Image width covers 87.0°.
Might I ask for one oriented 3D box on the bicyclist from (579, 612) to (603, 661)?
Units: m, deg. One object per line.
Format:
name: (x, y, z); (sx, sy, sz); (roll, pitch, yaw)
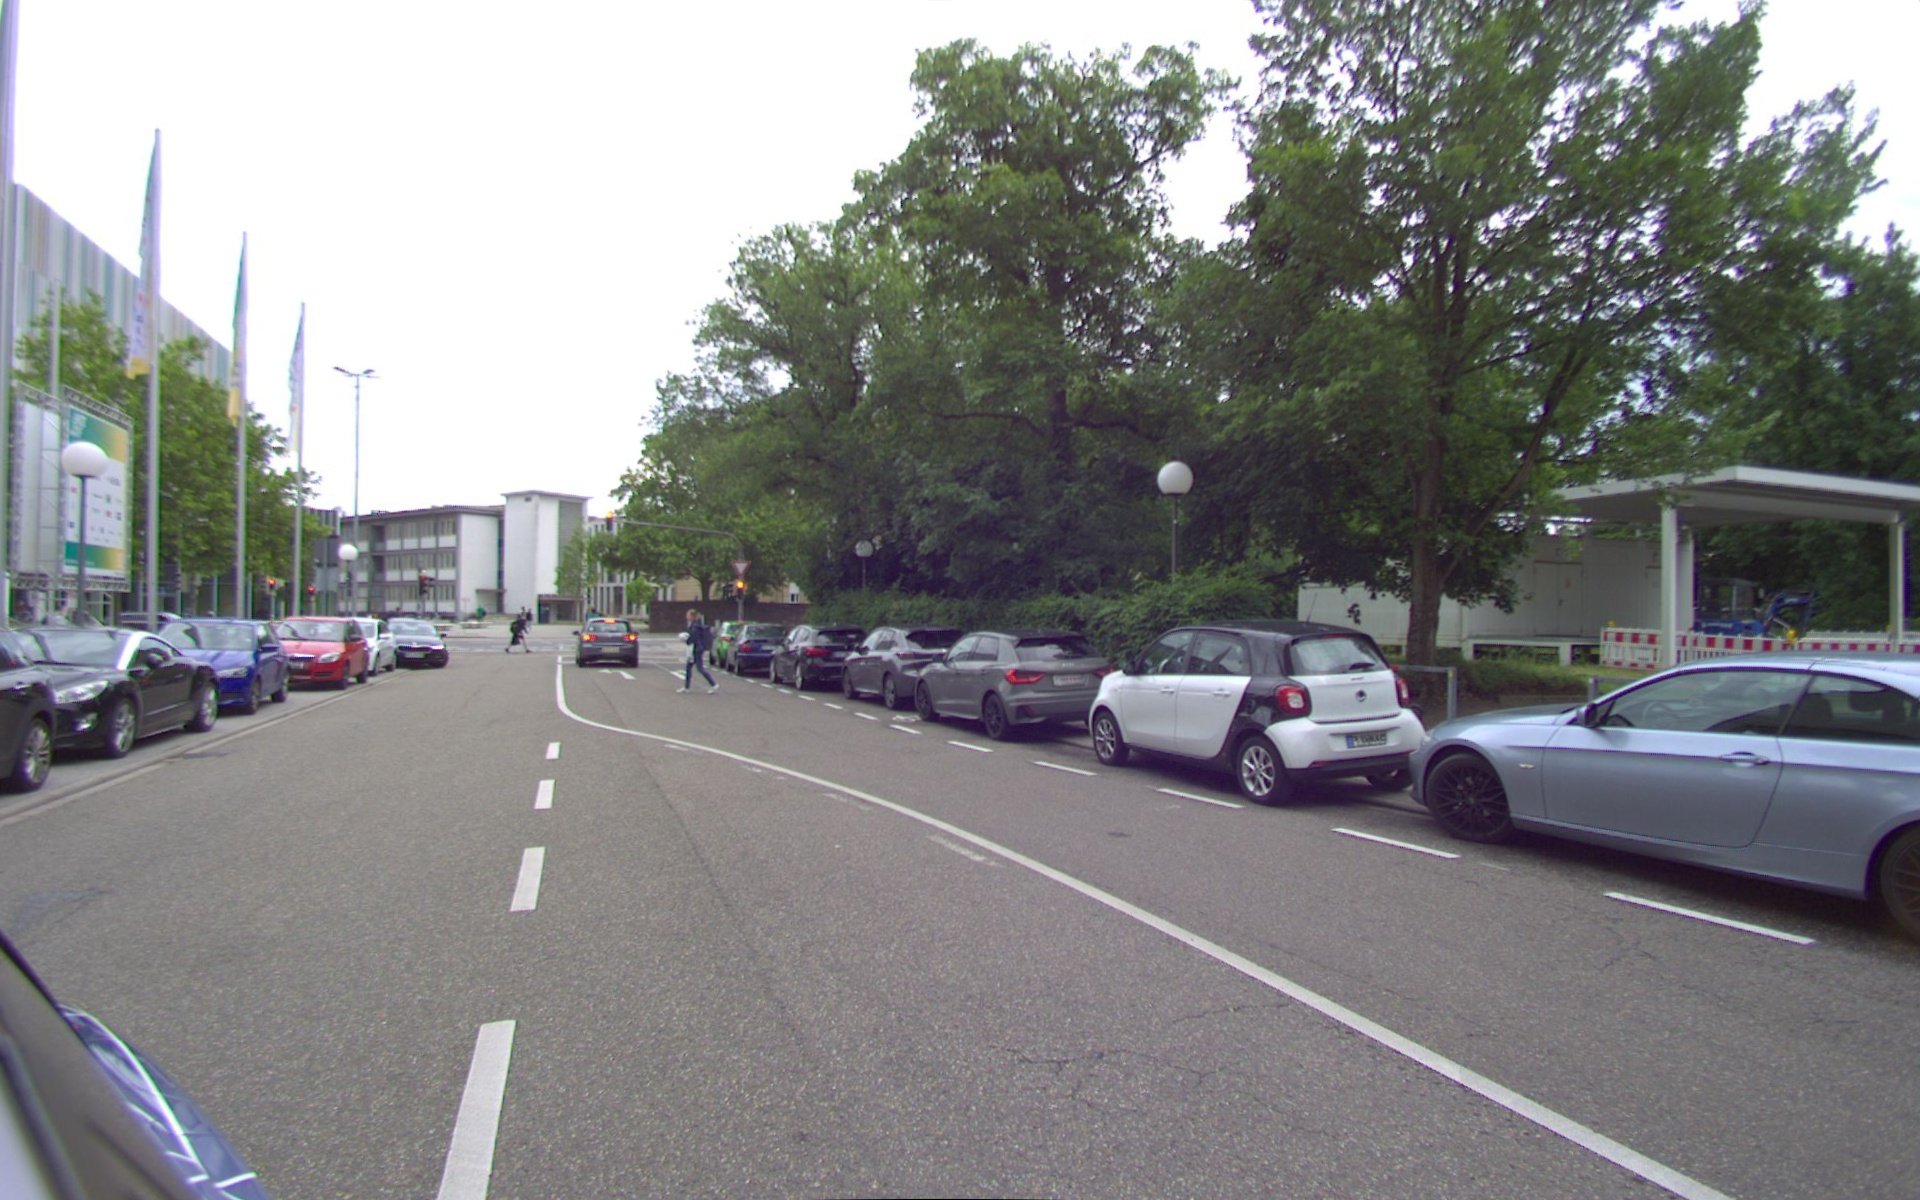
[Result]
bicyclist: (-13.603, 1.331, 37.346); (0.648, 1.793, 0.987); (2, -1, -29)

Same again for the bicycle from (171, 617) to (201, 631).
bicycle: (-55.423, 1.695, 72.491); (1.988, 0.943, 0.482); (1, -1, 10)

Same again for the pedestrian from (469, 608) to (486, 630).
pedestrian: (-39.046, 1.530, 81.868); (0.903, 1.727, 0.940); (0, -1, 34)

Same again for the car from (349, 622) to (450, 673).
car: (-17.525, 1.431, 31.526); (1.837, 1.412, 4.485); (2, -2, -41)

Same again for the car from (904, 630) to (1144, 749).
car: (0.730, 1.133, 14.317); (1.738, 1.422, 4.021); (1, -2, -24)

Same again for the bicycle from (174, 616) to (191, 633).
bicycle: (-50.700, 1.580, 65.965); (1.782, 1.053, 0.477); (1, -1, 40)

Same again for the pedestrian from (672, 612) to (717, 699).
pedestrian: (-5.286, 1.103, 20.117); (0.728, 1.674, 0.971); (2, -3, -21)

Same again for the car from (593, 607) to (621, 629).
car: (-37.373, 1.927, 107.174); (1.969, 1.593, 4.410); (-7, -6, -10)

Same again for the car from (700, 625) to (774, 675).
car: (-7.405, 1.599, 33.284); (1.772, 1.481, 4.262); (1, -1, -20)

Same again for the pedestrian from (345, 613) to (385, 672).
pedestrian: (-18.273, 1.297, 31.103); (0.780, 1.801, 0.823); (1, -1, -10)

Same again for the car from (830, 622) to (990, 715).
car: (-1.031, 1.178, 18.616); (1.737, 1.482, 3.837); (1, -1, -22)

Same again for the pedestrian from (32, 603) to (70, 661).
pedestrian: (-27.471, 0.977, 30.584); (0.662, 1.728, 0.680); (1, -2, -28)

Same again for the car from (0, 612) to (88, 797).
car: (-8.121, 0.782, 7.016); (1.792, 1.454, 4.535); (3, -2, -23)

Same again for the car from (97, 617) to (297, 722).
car: (-12.066, 1.017, 16.317); (1.671, 1.422, 4.391); (2, -1, -25)

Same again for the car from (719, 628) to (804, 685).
car: (-5.623, 1.519, 28.291); (1.772, 1.419, 4.350); (1, -1, -18)

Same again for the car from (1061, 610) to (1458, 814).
car: (2.696, 0.941, 10.098); (1.691, 1.598, 3.890); (0, -2, -23)

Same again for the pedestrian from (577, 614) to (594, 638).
pedestrian: (-27.141, 1.891, 73.332); (0.802, 1.677, 0.787); (-3, -3, 15)

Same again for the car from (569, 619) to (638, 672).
car: (-11.078, 1.365, 31.301); (1.758, 1.508, 4.181); (1, -1, -22)

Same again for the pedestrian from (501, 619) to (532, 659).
pedestrian: (-18.450, 1.609, 42.090); (1.027, 1.632, 0.659); (1, -1, -39)

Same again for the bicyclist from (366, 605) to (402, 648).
bicyclist: (-22.389, 1.034, 39.349); (0.871, 1.653, 0.861); (-1, -2, 24)

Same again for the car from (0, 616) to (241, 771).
car: (-9.984, 0.972, 11.552); (1.822, 1.453, 4.432); (1, -3, -21)

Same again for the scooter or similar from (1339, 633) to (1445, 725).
scooter or similar: (5.954, 1.076, 14.000); (1.296, 1.219, 0.448); (0, -1, 19)

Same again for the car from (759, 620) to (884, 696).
car: (-3.306, 1.276, 23.383); (1.772, 1.573, 4.545); (1, -2, -22)

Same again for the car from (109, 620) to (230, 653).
car: (-38.133, 1.725, 48.957); (4.217, 1.500, 2.007); (0, -1, -22)

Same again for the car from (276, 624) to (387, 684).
car: (-16.542, 1.372, 26.823); (1.834, 1.464, 3.871); (1, -1, -22)

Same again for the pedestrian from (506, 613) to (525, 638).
pedestrian: (-31.407, 1.802, 71.574); (0.890, 1.802, 0.839); (0, -2, 26)

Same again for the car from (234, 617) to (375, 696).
car: (-13.912, 1.169, 21.738); (1.688, 1.484, 4.287); (3, -3, -22)

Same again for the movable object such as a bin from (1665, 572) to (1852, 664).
movable object such as a bin: (20.914, 0.514, 26.512); (4.589, 2.188, 2.007); (2, -2, -25)

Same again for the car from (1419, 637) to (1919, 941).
car: (5.087, 0.951, 5.927); (1.792, 1.399, 4.208); (0, -1, -25)
